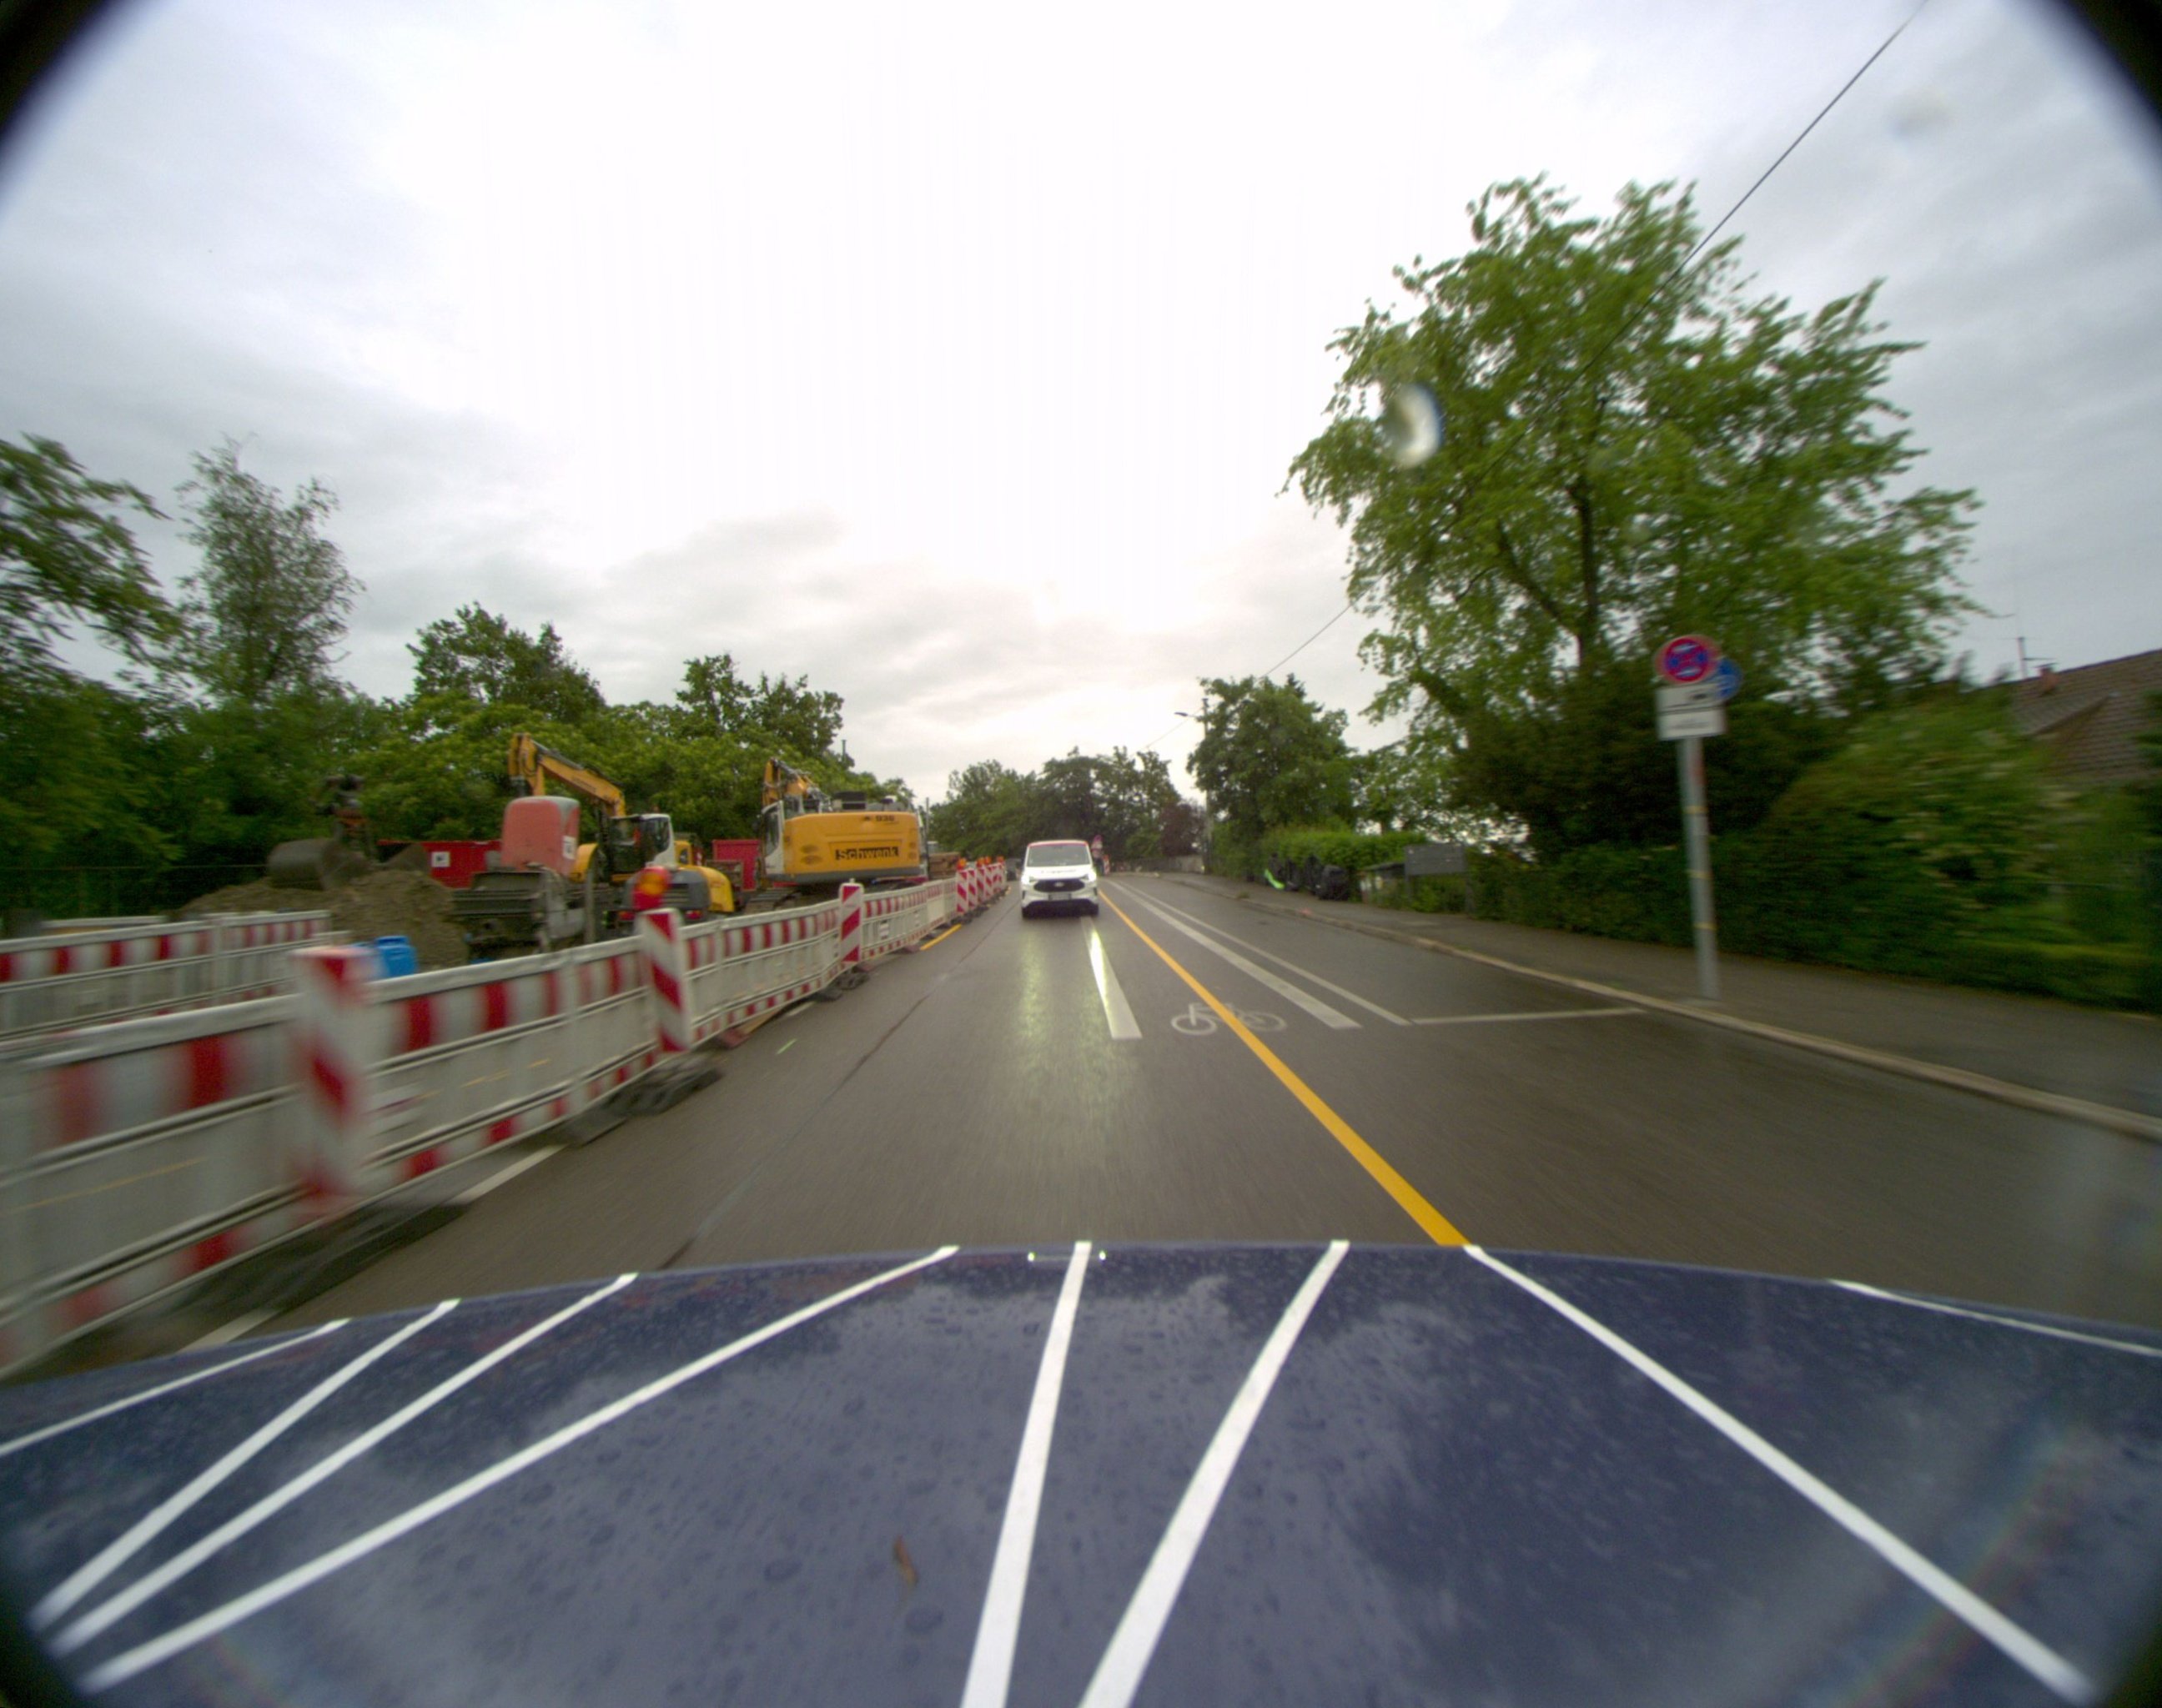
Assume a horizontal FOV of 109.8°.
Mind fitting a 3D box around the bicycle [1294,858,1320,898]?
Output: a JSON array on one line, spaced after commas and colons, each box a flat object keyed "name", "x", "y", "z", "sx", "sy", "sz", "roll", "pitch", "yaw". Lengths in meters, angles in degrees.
[{"name": "bicycle", "x": 6.569, "y": 0.690, "z": 22.129, "sx": 0.339, "sy": 1.101, "sz": 1.255, "roll": -2, "pitch": 1, "yaw": -1}]

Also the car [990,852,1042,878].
[{"name": "car", "x": -5.539, "y": 0.945, "z": 64.278, "sx": 2.004, "sy": 2.001, "sz": 4.937, "roll": -1, "pitch": -2, "yaw": -38}]

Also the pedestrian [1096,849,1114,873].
[{"name": "pedestrian", "x": 1.772, "y": 0.556, "z": 57.029, "sx": 0.927, "sy": 1.757, "sz": 0.978, "roll": -1, "pitch": -1, "yaw": -31}]

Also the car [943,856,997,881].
[{"name": "car", "x": -10.055, "y": 1.301, "z": 68.857, "sx": 4.801, "sy": 2.001, "sz": 1.875, "roll": -4, "pitch": -3, "yaw": 35}]

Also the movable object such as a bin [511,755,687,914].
[{"name": "movable object such as a bin", "x": -13.085, "y": -0.476, "z": 21.061, "sx": 1.999, "sy": 3.866, "sz": 4.616, "roll": -2, "pitch": 0, "yaw": -3}]

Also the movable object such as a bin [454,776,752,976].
[{"name": "movable object such as a bin", "x": -8.533, "y": 0.436, "z": 14.026, "sx": 4.000, "sy": 3.182, "sz": 2.407, "roll": -3, "pitch": -5, "yaw": -11}]

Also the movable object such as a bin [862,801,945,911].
[{"name": "movable object such as a bin", "x": -5.718, "y": -0.006, "z": 25.001, "sx": 1.999, "sy": 3.287, "sz": 3.832, "roll": -2, "pitch": 3, "yaw": -5}]

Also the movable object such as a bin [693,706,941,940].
[{"name": "movable object such as a bin", "x": -7.859, "y": -0.786, "z": 21.081, "sx": 3.072, "sy": 4.892, "sz": 10.788, "roll": -4, "pitch": 3, "yaw": -37}]

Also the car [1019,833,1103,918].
[{"name": "car", "x": -0.568, "y": 0.593, "z": 21.025, "sx": 1.999, "sy": 2.001, "sz": 4.949, "roll": 2, "pitch": -1, "yaw": -2}]

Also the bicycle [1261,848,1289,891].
[{"name": "bicycle", "x": 6.484, "y": 0.497, "z": 25.420, "sx": 0.421, "sy": 1.342, "sz": 1.742, "roll": -2, "pitch": 1, "yaw": -1}]

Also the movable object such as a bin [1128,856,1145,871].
[{"name": "movable object such as a bin", "x": 4.283, "y": 0.755, "z": 58.770, "sx": 0.990, "sy": 1.099, "sz": 1.026, "roll": 0, "pitch": -3, "yaw": -21}]

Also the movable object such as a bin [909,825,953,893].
[{"name": "movable object such as a bin", "x": -8.347, "y": 0.364, "z": 42.734, "sx": 2.082, "sy": 3.205, "sz": 5.285, "roll": -3, "pitch": -6, "yaw": -9}]

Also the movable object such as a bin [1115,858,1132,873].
[{"name": "movable object such as a bin", "x": 3.282, "y": 0.862, "z": 58.441, "sx": 0.990, "sy": 1.099, "sz": 1.026, "roll": 0, "pitch": -2, "yaw": -21}]
